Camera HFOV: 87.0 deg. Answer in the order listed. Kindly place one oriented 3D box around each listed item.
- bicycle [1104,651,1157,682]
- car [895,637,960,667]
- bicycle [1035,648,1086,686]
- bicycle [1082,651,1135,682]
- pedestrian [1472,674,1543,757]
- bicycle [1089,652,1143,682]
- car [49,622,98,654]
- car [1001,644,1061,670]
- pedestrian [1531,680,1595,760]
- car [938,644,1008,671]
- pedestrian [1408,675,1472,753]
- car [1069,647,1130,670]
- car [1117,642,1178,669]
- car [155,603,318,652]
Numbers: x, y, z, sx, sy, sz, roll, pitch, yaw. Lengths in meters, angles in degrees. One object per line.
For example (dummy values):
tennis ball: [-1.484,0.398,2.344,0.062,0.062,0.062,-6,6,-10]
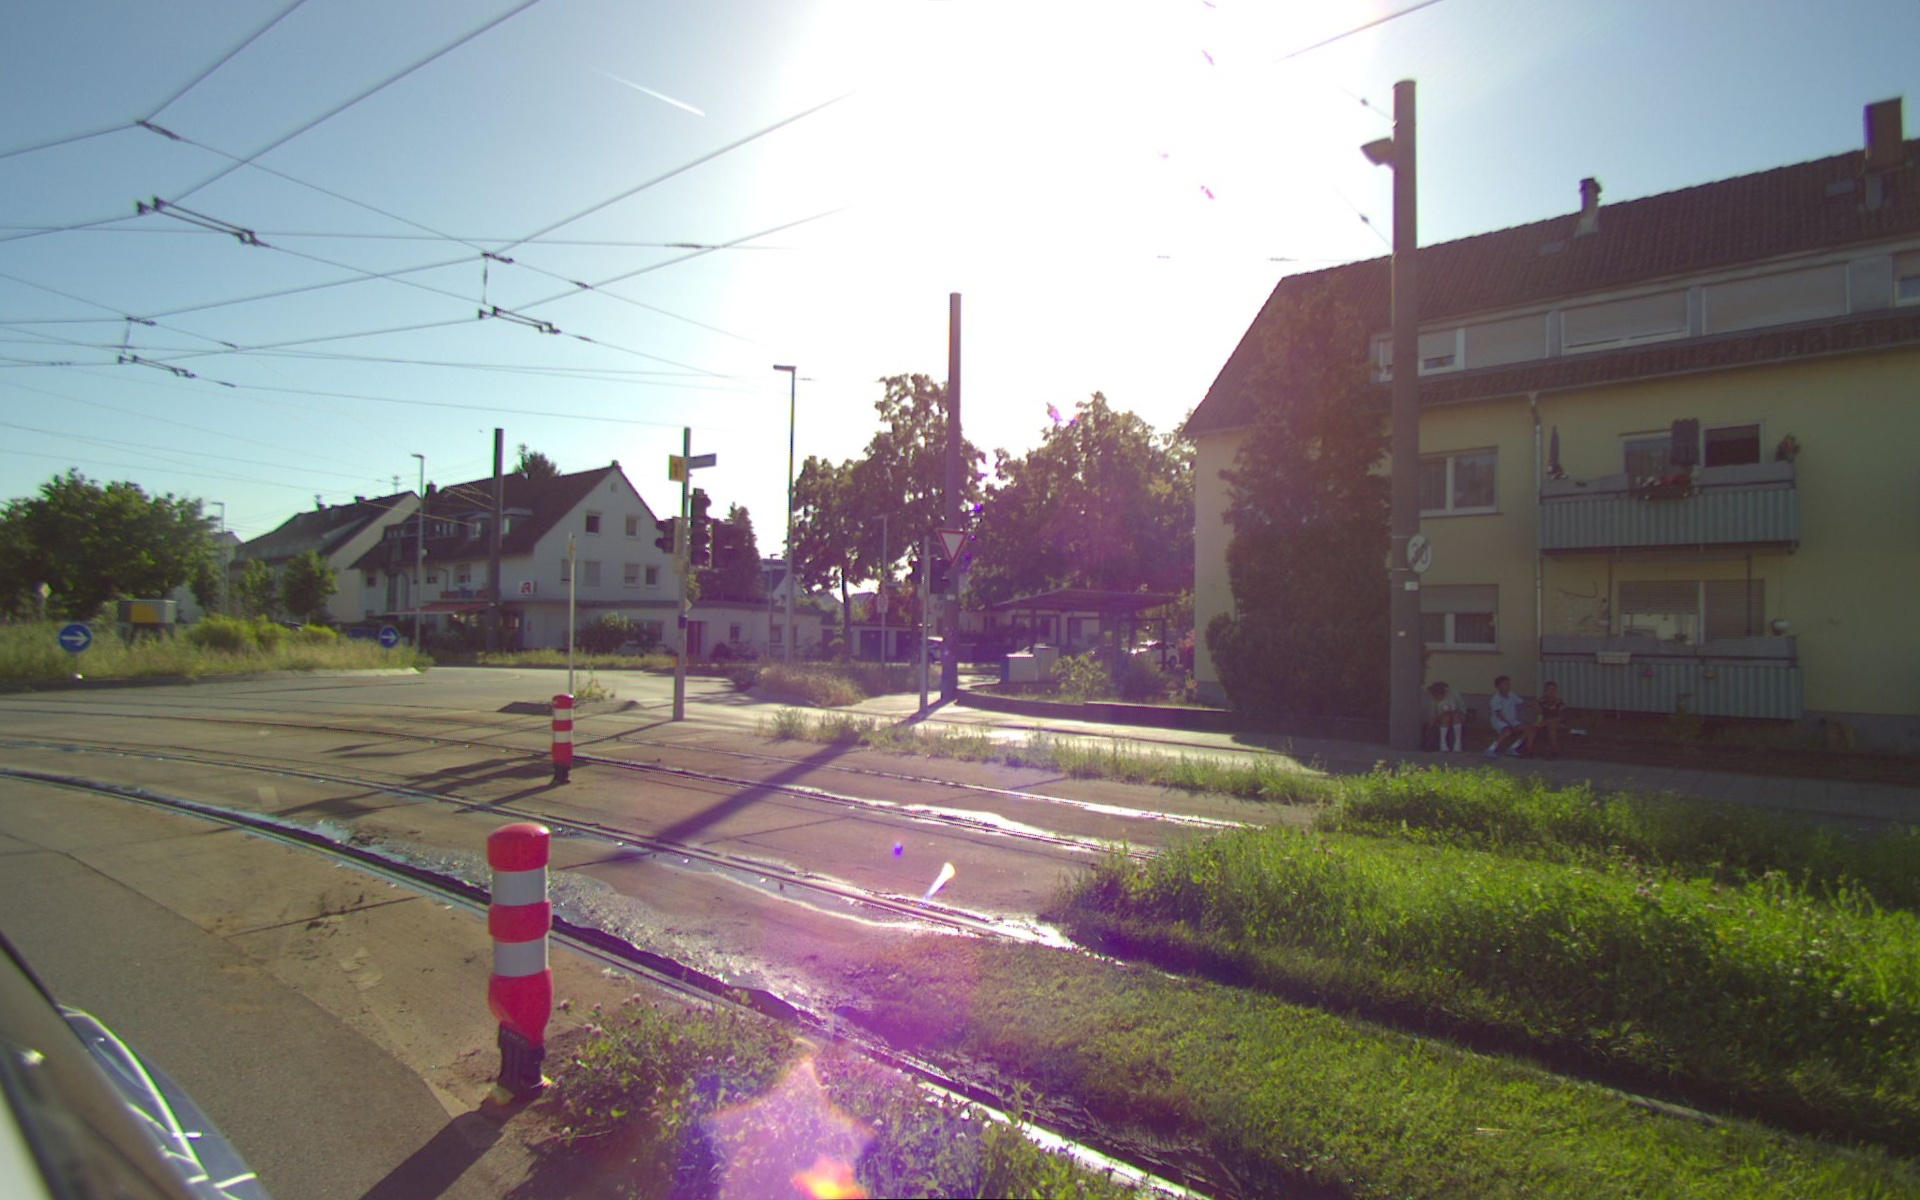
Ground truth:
bicycle: [6.515,2.537,38.773,0.679,1.035,1.981,3,-2,-45]
car: [-2.095,3.295,64.308,1.968,1.707,4.057,3,-2,-40]
bicycle: [3.504,2.328,35.284,0.679,1.217,1.672,3,-2,-45]
bicycle: [5.449,2.432,37.233,0.679,1.035,1.848,3,-2,-45]
pedestrian: [7.794,1.630,14.441,0.619,1.073,0.818,2,-1,8]
bicycle: [5.863,2.506,38.082,0.686,1.035,1.981,3,-2,-45]
car: [-61.263,2.612,69.908,4.368,2.030,1.871,1,-2,40]
car: [4.400,3.506,62.371,1.804,1.475,3.750,1,-2,40]
pedestrian: [8.369,1.646,14.070,0.590,1.013,0.720,2,-1,17]
car: [0.747,3.173,55.749,1.600,1.375,3.942,1,-2,44]
pedestrian: [7.082,1.657,14.928,0.687,1.054,0.809,0,-2,39]
car: [9.135,3.825,66.182,1.968,1.334,3.942,1,-2,44]
car: [12.899,3.833,69.383,4.153,1.712,2.002,3,-2,-42]
car: [-25.985,0.991,36.499,4.365,1.592,1.842,3,-1,-16]
